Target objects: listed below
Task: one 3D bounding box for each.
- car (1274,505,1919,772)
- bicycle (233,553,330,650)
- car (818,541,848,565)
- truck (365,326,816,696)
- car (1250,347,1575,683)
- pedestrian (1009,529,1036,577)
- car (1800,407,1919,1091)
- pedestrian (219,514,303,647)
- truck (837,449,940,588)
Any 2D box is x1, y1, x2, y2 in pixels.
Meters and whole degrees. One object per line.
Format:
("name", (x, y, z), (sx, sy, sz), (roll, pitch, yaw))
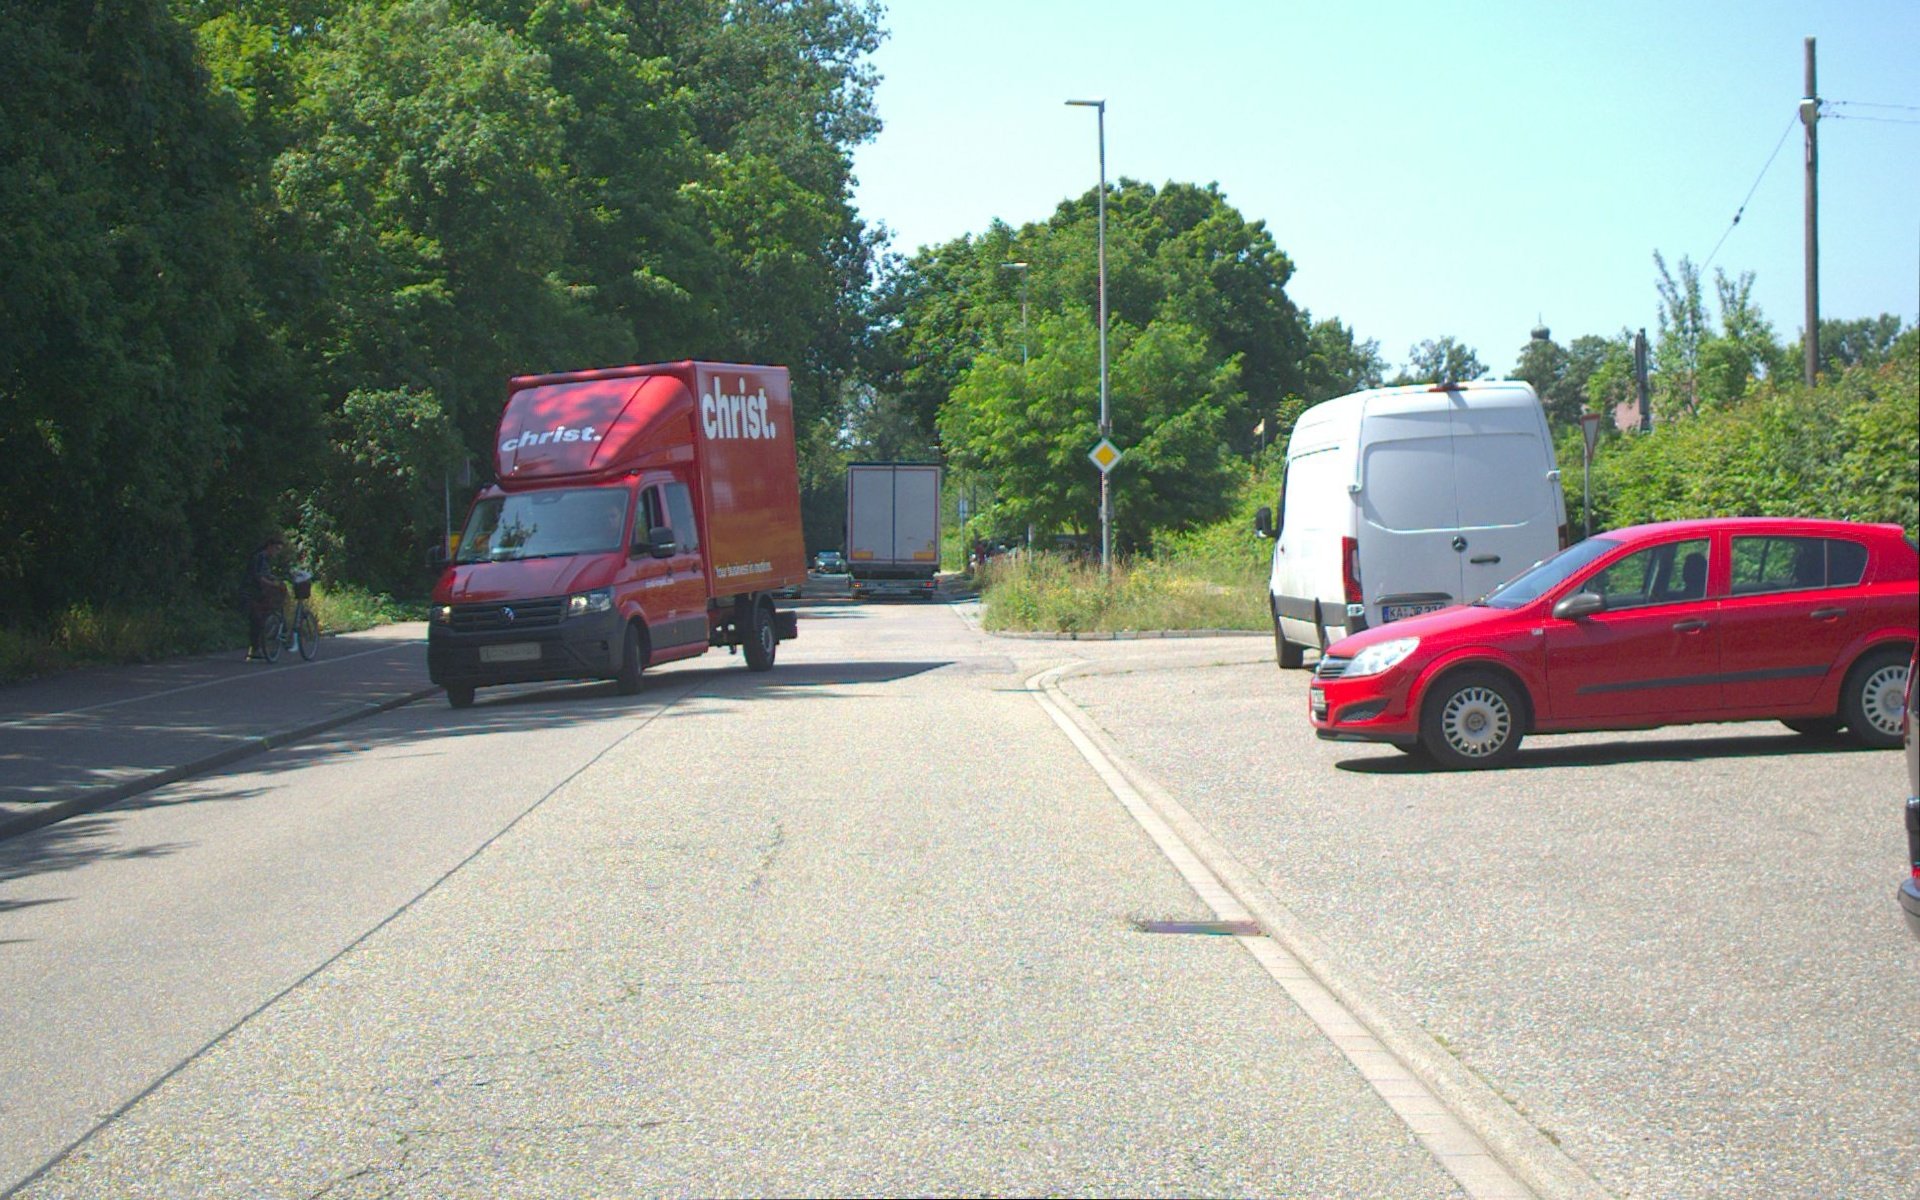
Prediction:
("car", (4.182, 0.210, 21.863), (4.053, 1.429, 1.836), (-3, 1, -4))
("bicycle", (-8.805, 0.013, 44.687), (0.521, 1.232, 1.960), (1, 0, 11))
("car", (-9.125, -3.378, 247.554), (1.993, 1.678, 4.262), (-1, 1, 0))
("truck", (-3.707, -0.954, 36.471), (2.324, 3.428, 7.157), (-3, 1, 13))
("car", (4.085, -0.792, 32.330), (1.954, 2.724, 7.168), (-3, 1, 0))
("pedestrian", (2.193, -1.664, 120.761), (0.863, 1.671, 0.886), (-1, 1, -2))
("car", (4.733, 0.290, 9.000), (4.452, 1.798, 1.953), (-3, 1, -5))
("pedestrian", (-9.105, -0.257, 44.797), (0.808, 1.712, 0.776), (0, 1, 15))
("truck", (-1.993, -2.298, 99.137), (2.733, 3.733, 13.246), (1, 1, -1))
